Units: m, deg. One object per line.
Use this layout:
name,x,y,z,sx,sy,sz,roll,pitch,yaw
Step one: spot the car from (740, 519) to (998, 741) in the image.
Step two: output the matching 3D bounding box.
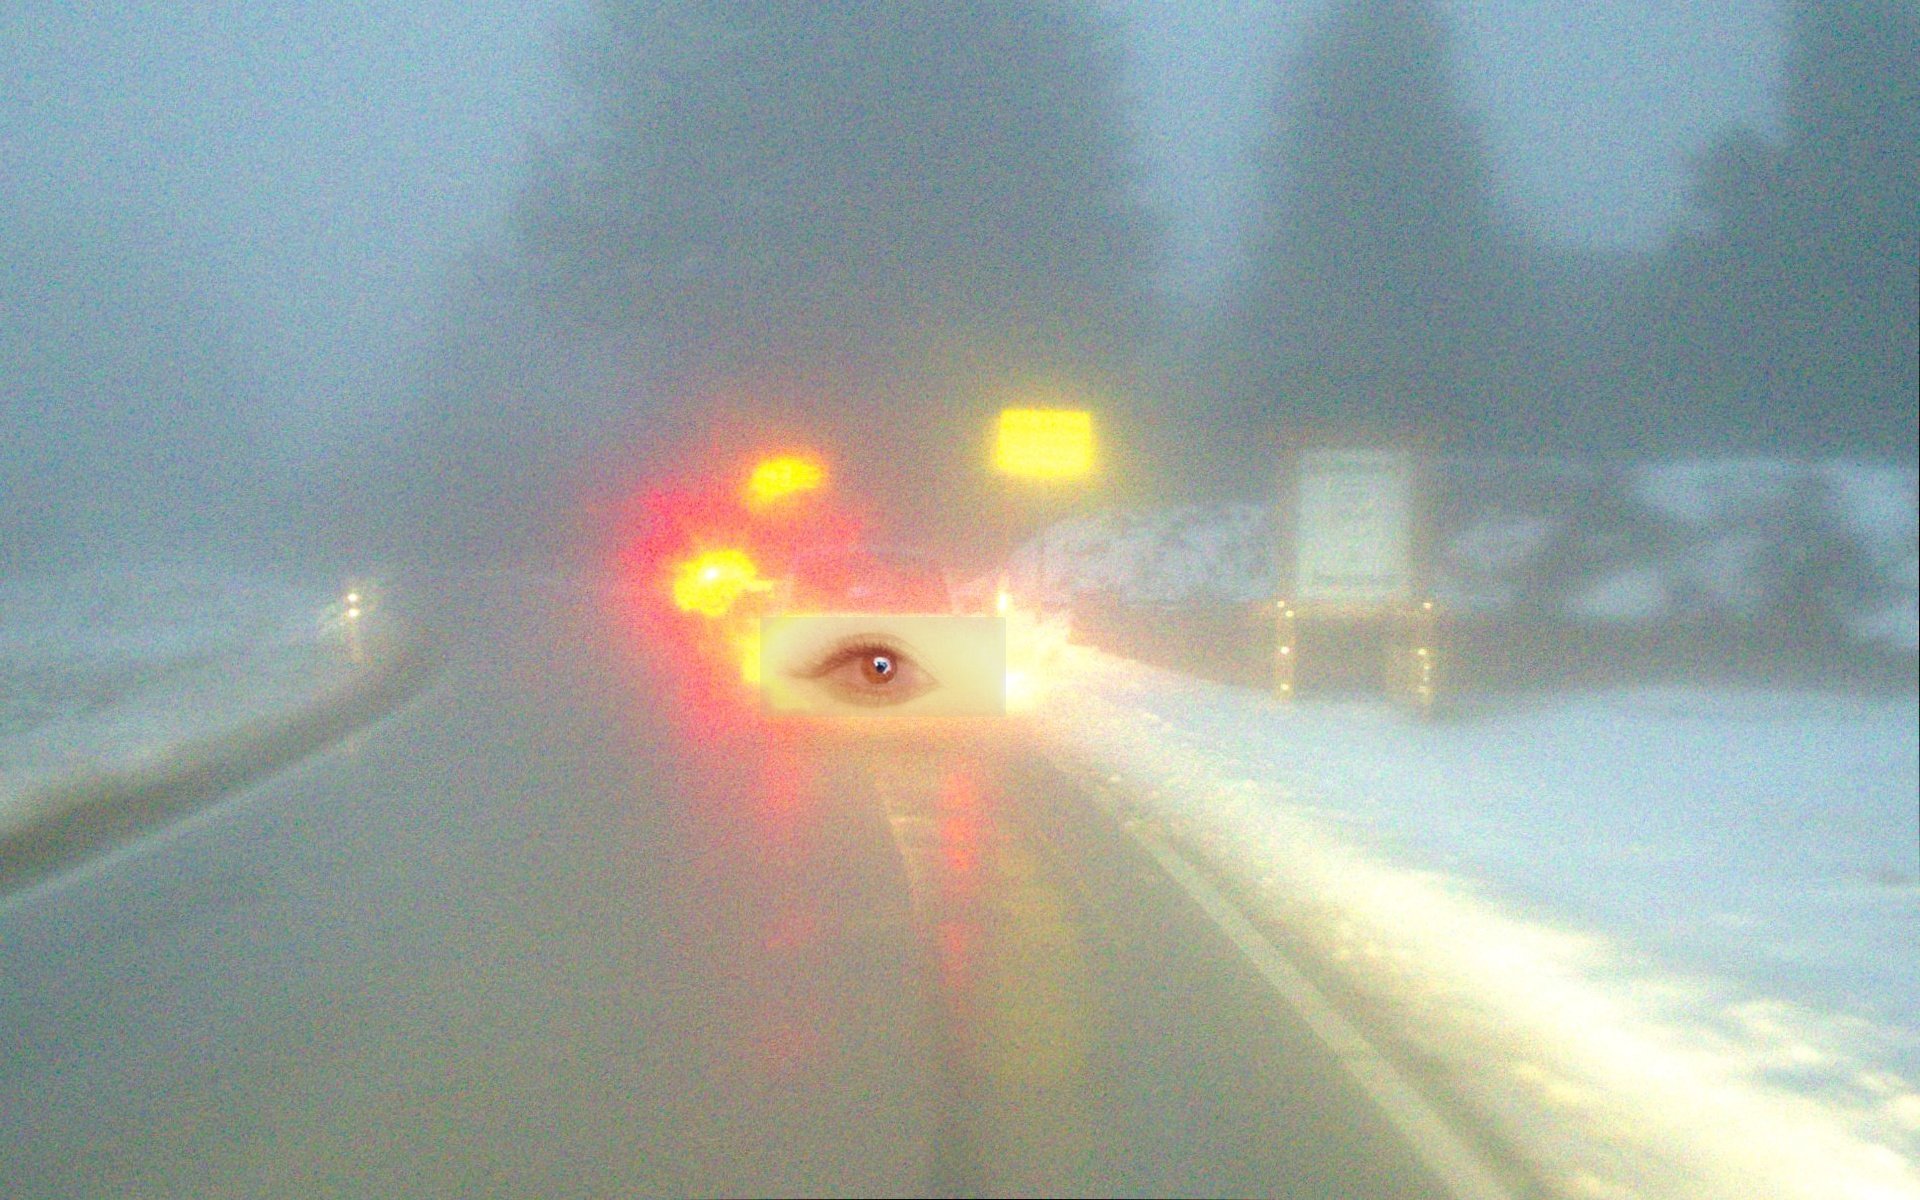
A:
car,-0.773,0.237,26.416,1.706,1.458,4.000,4,-1,-4

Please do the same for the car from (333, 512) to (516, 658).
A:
car,-5.721,-0.166,36.974,1.522,1.503,3.053,0,0,-1

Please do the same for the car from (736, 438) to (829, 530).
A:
car,-3.043,-1.990,59.411,1.478,1.503,3.053,0,0,-1

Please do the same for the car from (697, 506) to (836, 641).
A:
car,-2.222,-0.328,39.993,1.478,1.503,3.053,0,1,-1
